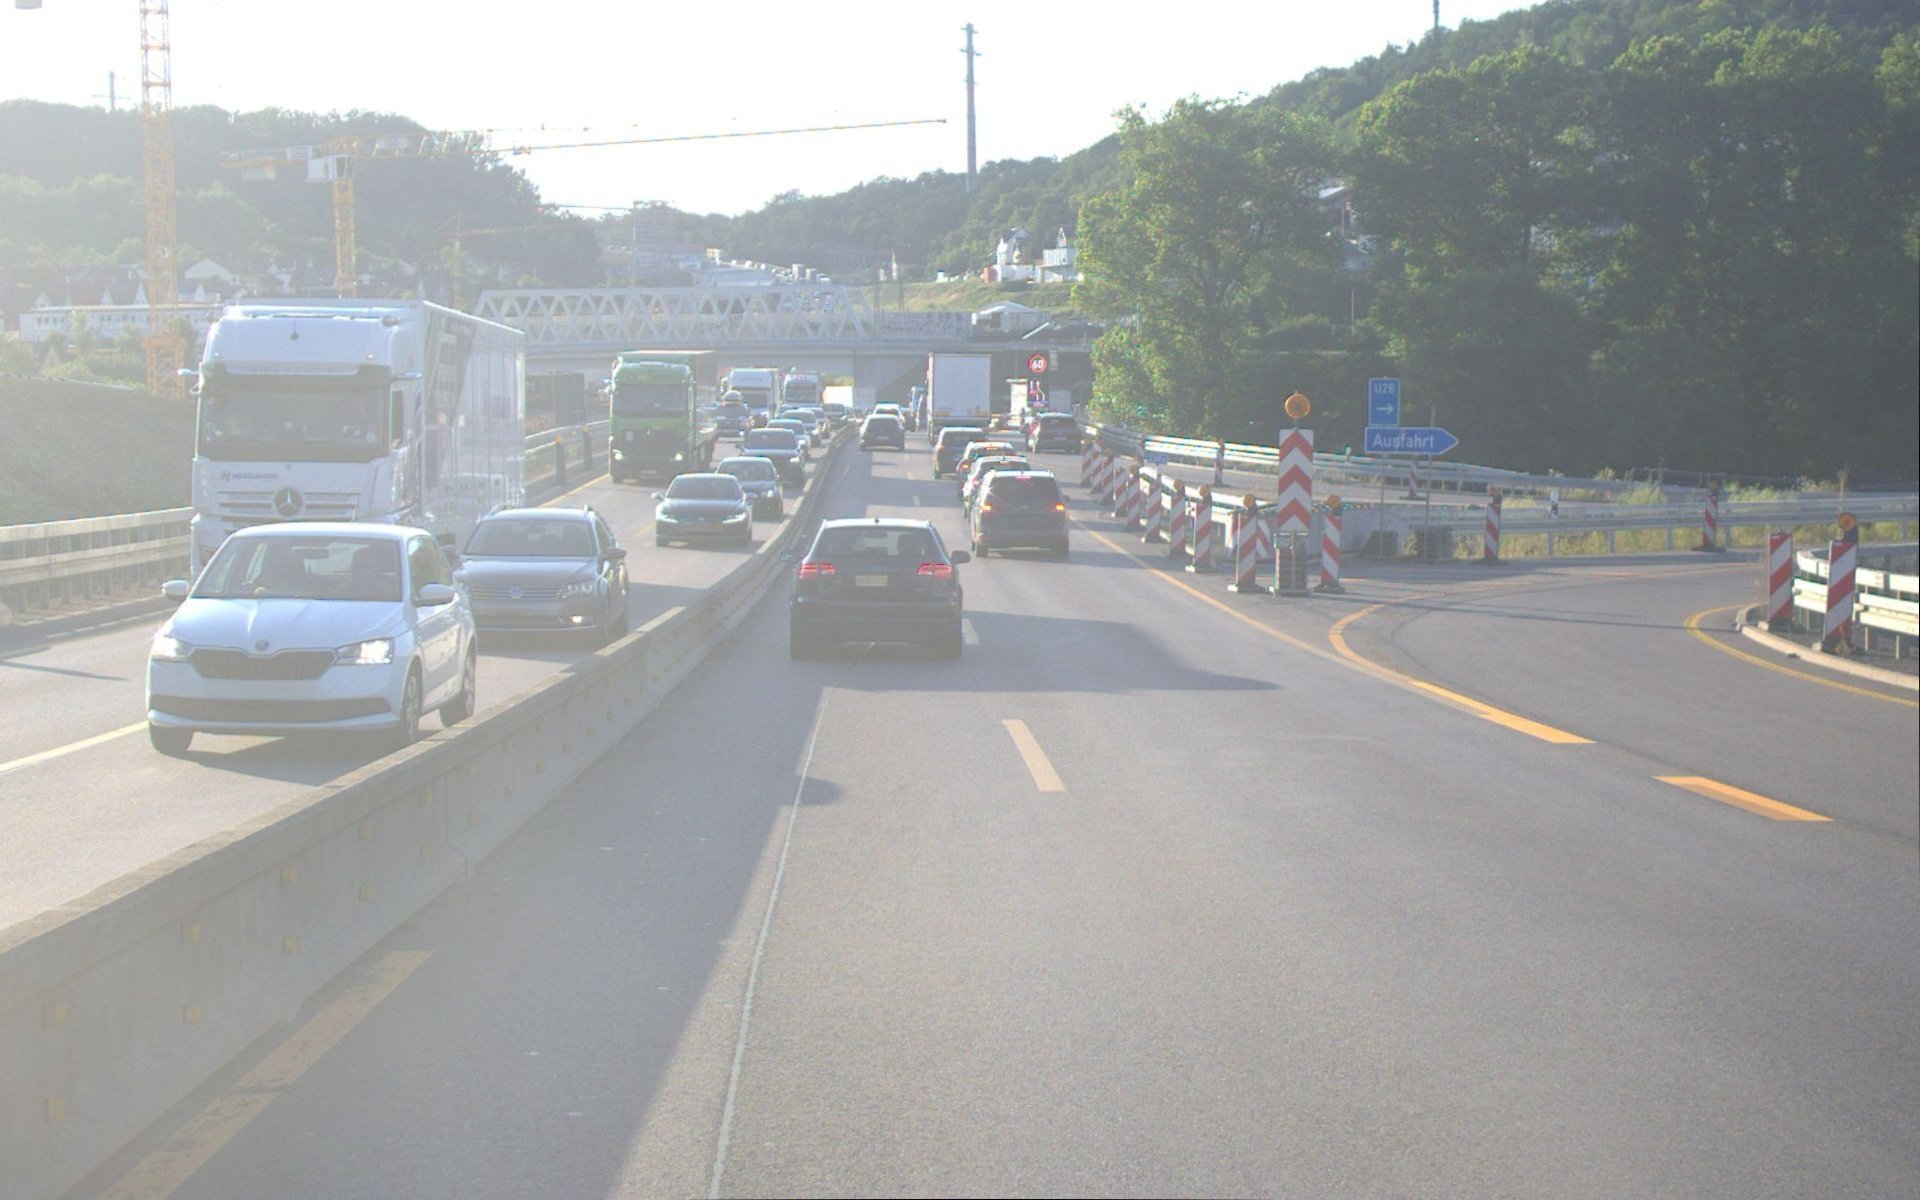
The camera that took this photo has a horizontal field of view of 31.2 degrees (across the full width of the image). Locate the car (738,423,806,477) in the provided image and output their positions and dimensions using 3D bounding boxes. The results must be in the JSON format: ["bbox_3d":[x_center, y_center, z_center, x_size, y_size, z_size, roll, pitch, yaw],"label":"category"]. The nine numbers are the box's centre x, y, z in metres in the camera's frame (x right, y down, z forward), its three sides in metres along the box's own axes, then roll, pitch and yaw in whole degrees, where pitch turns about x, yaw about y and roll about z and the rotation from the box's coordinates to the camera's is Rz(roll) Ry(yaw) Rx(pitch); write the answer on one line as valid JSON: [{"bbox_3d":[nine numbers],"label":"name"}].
[{"bbox_3d":[-5.712,-4.566,104.862,1.911,1.603,4.496,0,2,-1],"label":"car"}]

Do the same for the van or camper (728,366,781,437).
[{"bbox_3d":[-10.367,-10.092,173.925,2.457,3.485,7.416,0,4,-2],"label":"van or camper"}]

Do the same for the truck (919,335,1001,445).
[{"bbox_3d":[-0.095,-9.504,153.686,3.385,4.481,15.272,1,5,-1],"label":"truck"}]

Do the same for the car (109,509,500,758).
[{"bbox_3d":[-4.305,0.179,23.194,1.788,1.483,4.220,1,1,0],"label":"car"}]

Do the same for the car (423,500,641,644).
[{"bbox_3d":[-4.626,-0.350,37.730,1.850,1.478,4.511,0,1,0],"label":"car"}]

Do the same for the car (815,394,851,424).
[{"bbox_3d":[-7.257,-10.901,196.143,1.923,1.546,4.000,1,2,-1],"label":"car"}]

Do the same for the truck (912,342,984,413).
[{"bbox_3d":[-0.863,-14.718,226.881,3.890,4.482,13.853,1,4,-3],"label":"truck"}]

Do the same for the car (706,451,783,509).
[{"bbox_3d":[-5.313,-2.986,85.181,1.715,1.404,4.328,0,2,-1],"label":"car"}]

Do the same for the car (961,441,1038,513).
[{"bbox_3d":[0.938,-2.990,83.024,1.774,1.580,4.136,1,4,0],"label":"car"}]

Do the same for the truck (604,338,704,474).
[{"bbox_3d":[-9.472,-6.024,106.912,2.769,4.066,5.777,1,3,-2],"label":"truck"}]

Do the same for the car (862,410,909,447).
[{"bbox_3d":[-3.025,-6.980,139.396,1.863,1.415,4.001,1,3,-1],"label":"car"}]

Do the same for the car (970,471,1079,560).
[{"bbox_3d":[1.203,-1.612,66.286,1.812,1.610,4.526,1,1,-2],"label":"car"}]

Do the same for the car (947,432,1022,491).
[{"bbox_3d":[0.651,-3.895,96.025,1.875,1.593,4.967,0,3,-2],"label":"car"}]

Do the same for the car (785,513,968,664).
[{"bbox_3d":[-0.914,-0.157,35.528,1.770,1.385,4.001,1,2,-3],"label":"car"}]

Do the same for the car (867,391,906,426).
[{"bbox_3d":[-3.768,-9.837,176.560,1.923,1.547,4.000,1,0,-1],"label":"car"}]

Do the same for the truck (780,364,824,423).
[{"bbox_3d":[-11.034,-14.462,240.755,2.814,4.034,5.673,0,3,0],"label":"truck"}]

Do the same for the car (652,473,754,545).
[{"bbox_3d":[-5.218,-1.875,70.272,1.836,1.404,4.496,0,2,-1],"label":"car"}]

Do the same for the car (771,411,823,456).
[{"bbox_3d":[-6.889,-7.043,145.563,1.993,1.787,4.000,1,1,-1],"label":"car"}]

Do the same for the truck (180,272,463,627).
[{"bbox_3d":[-8.111,-1.887,44.352,2.552,4.206,6.051,1,1,-1],"label":"truck"}]

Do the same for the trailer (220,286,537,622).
[{"bbox_3d":[-8.237,-2.034,50.578,2.531,4.199,13.936,1,1,-1],"label":"trailer"}]

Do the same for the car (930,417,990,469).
[{"bbox_3d":[-0.016,-5.110,111.523,1.814,1.626,4.412,1,3,-2],"label":"car"}]
